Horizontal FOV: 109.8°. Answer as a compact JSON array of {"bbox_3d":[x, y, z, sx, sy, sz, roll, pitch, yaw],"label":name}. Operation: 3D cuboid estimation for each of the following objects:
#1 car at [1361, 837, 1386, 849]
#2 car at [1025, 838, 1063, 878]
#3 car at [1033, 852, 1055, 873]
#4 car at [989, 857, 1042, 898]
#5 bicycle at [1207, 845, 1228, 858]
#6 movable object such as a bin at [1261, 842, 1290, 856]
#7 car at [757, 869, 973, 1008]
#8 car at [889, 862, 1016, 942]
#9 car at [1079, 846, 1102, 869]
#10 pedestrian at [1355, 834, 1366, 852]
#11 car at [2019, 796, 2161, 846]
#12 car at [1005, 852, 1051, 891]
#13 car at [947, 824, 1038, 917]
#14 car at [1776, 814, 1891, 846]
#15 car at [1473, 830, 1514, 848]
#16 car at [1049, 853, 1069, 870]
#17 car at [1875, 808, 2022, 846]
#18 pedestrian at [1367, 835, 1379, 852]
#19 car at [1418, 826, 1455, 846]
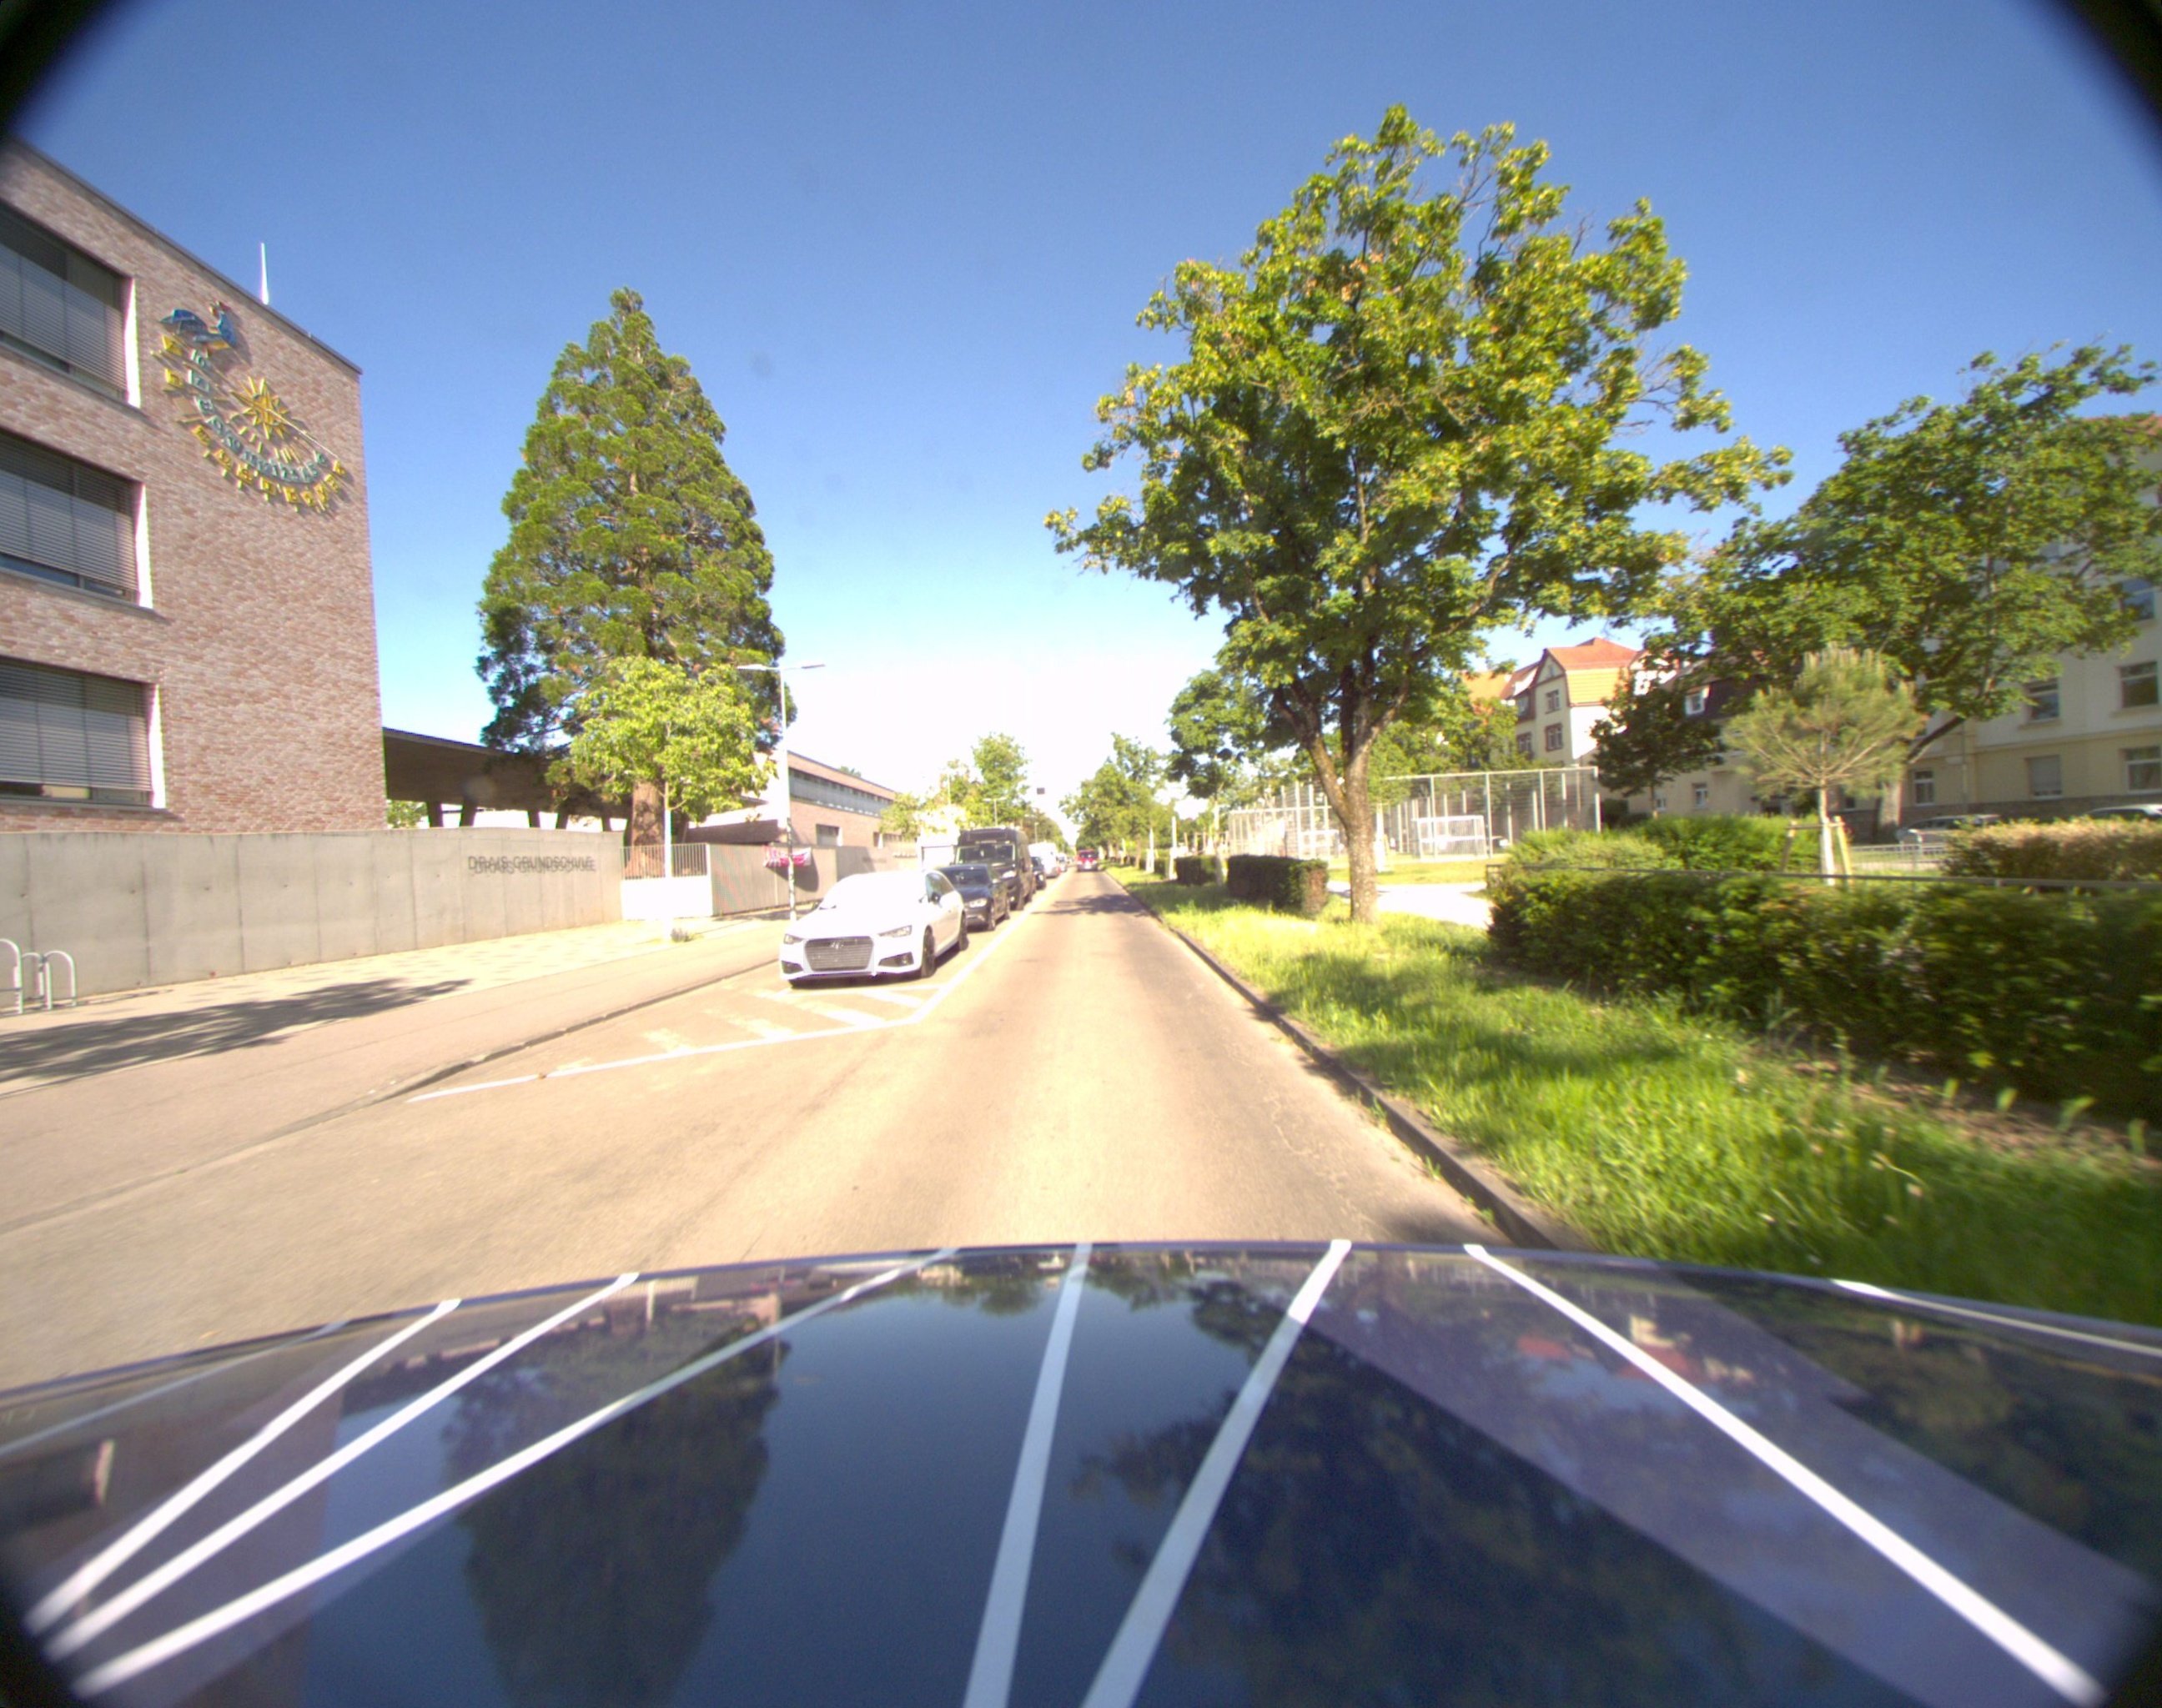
[{"bbox_3d":[39.949,-1.524,103.761,1.799,1.545,4.000,-3,0,0],"label":"car"},{"bbox_3d":[-2.571,0.225,54.135,2.246,2.559,5.432,-4,1,1],"label":"car"},{"bbox_3d":[-2.993,0.672,61.803,1.624,1.579,3.591,-3,0,-2],"label":"car"},{"bbox_3d":[-2.630,0.930,31.338,1.799,1.447,3.949,-3,1,0],"label":"car"},{"bbox_3d":[12.572,-0.224,70.121,1.799,1.101,0.500,-3,1,-1],"label":"bicycle"},{"bbox_3d":[17.499,-0.444,68.438,2.337,1.235,1.056,-2,0,-3],"label":"movable object such as a bin"},{"bbox_3d":[-2.865,1.043,11.248,1.799,1.412,4.657,-3,1,0],"label":"car"},{"bbox_3d":[-2.769,0.984,17.508,1.998,1.412,4.635,-3,1,1],"label":"car"},{"bbox_3d":[0.848,0.291,69.339,2.092,2.000,4.844,0,0,0],"label":"car"},{"bbox_3d":[21.399,-0.833,58.212,0.648,1.310,0.651,-3,1,30],"label":"pedestrian"},{"bbox_3d":[40.039,-1.272,29.460,1.799,1.767,4.488,-3,0,1],"label":"car"},{"bbox_3d":[-2.502,0.791,36.728,1.851,1.631,4.503,-3,1,0],"label":"car"},{"bbox_3d":[-2.649,0.430,24.461,2.121,2.501,6.530,-3,1,-1],"label":"car"},{"bbox_3d":[39.957,-1.248,40.490,1.799,1.501,4.347,-3,0,1],"label":"car"},{"bbox_3d":[40.090,-1.453,73.935,1.799,1.545,4.000,-3,0,0],"label":"car"},{"bbox_3d":[-2.126,0.702,74.066,1.705,1.470,4.173,-4,0,1],"label":"car"},{"bbox_3d":[40.010,-1.209,35.225,1.799,1.501,4.347,-3,0,1],"label":"car"},{"bbox_3d":[22.297,-0.805,57.996,0.648,1.310,0.651,-3,1,30],"label":"pedestrian"},{"bbox_3d":[39.574,-1.997,84.605,1.799,1.971,4.835,-3,0,1],"label":"car"}]
